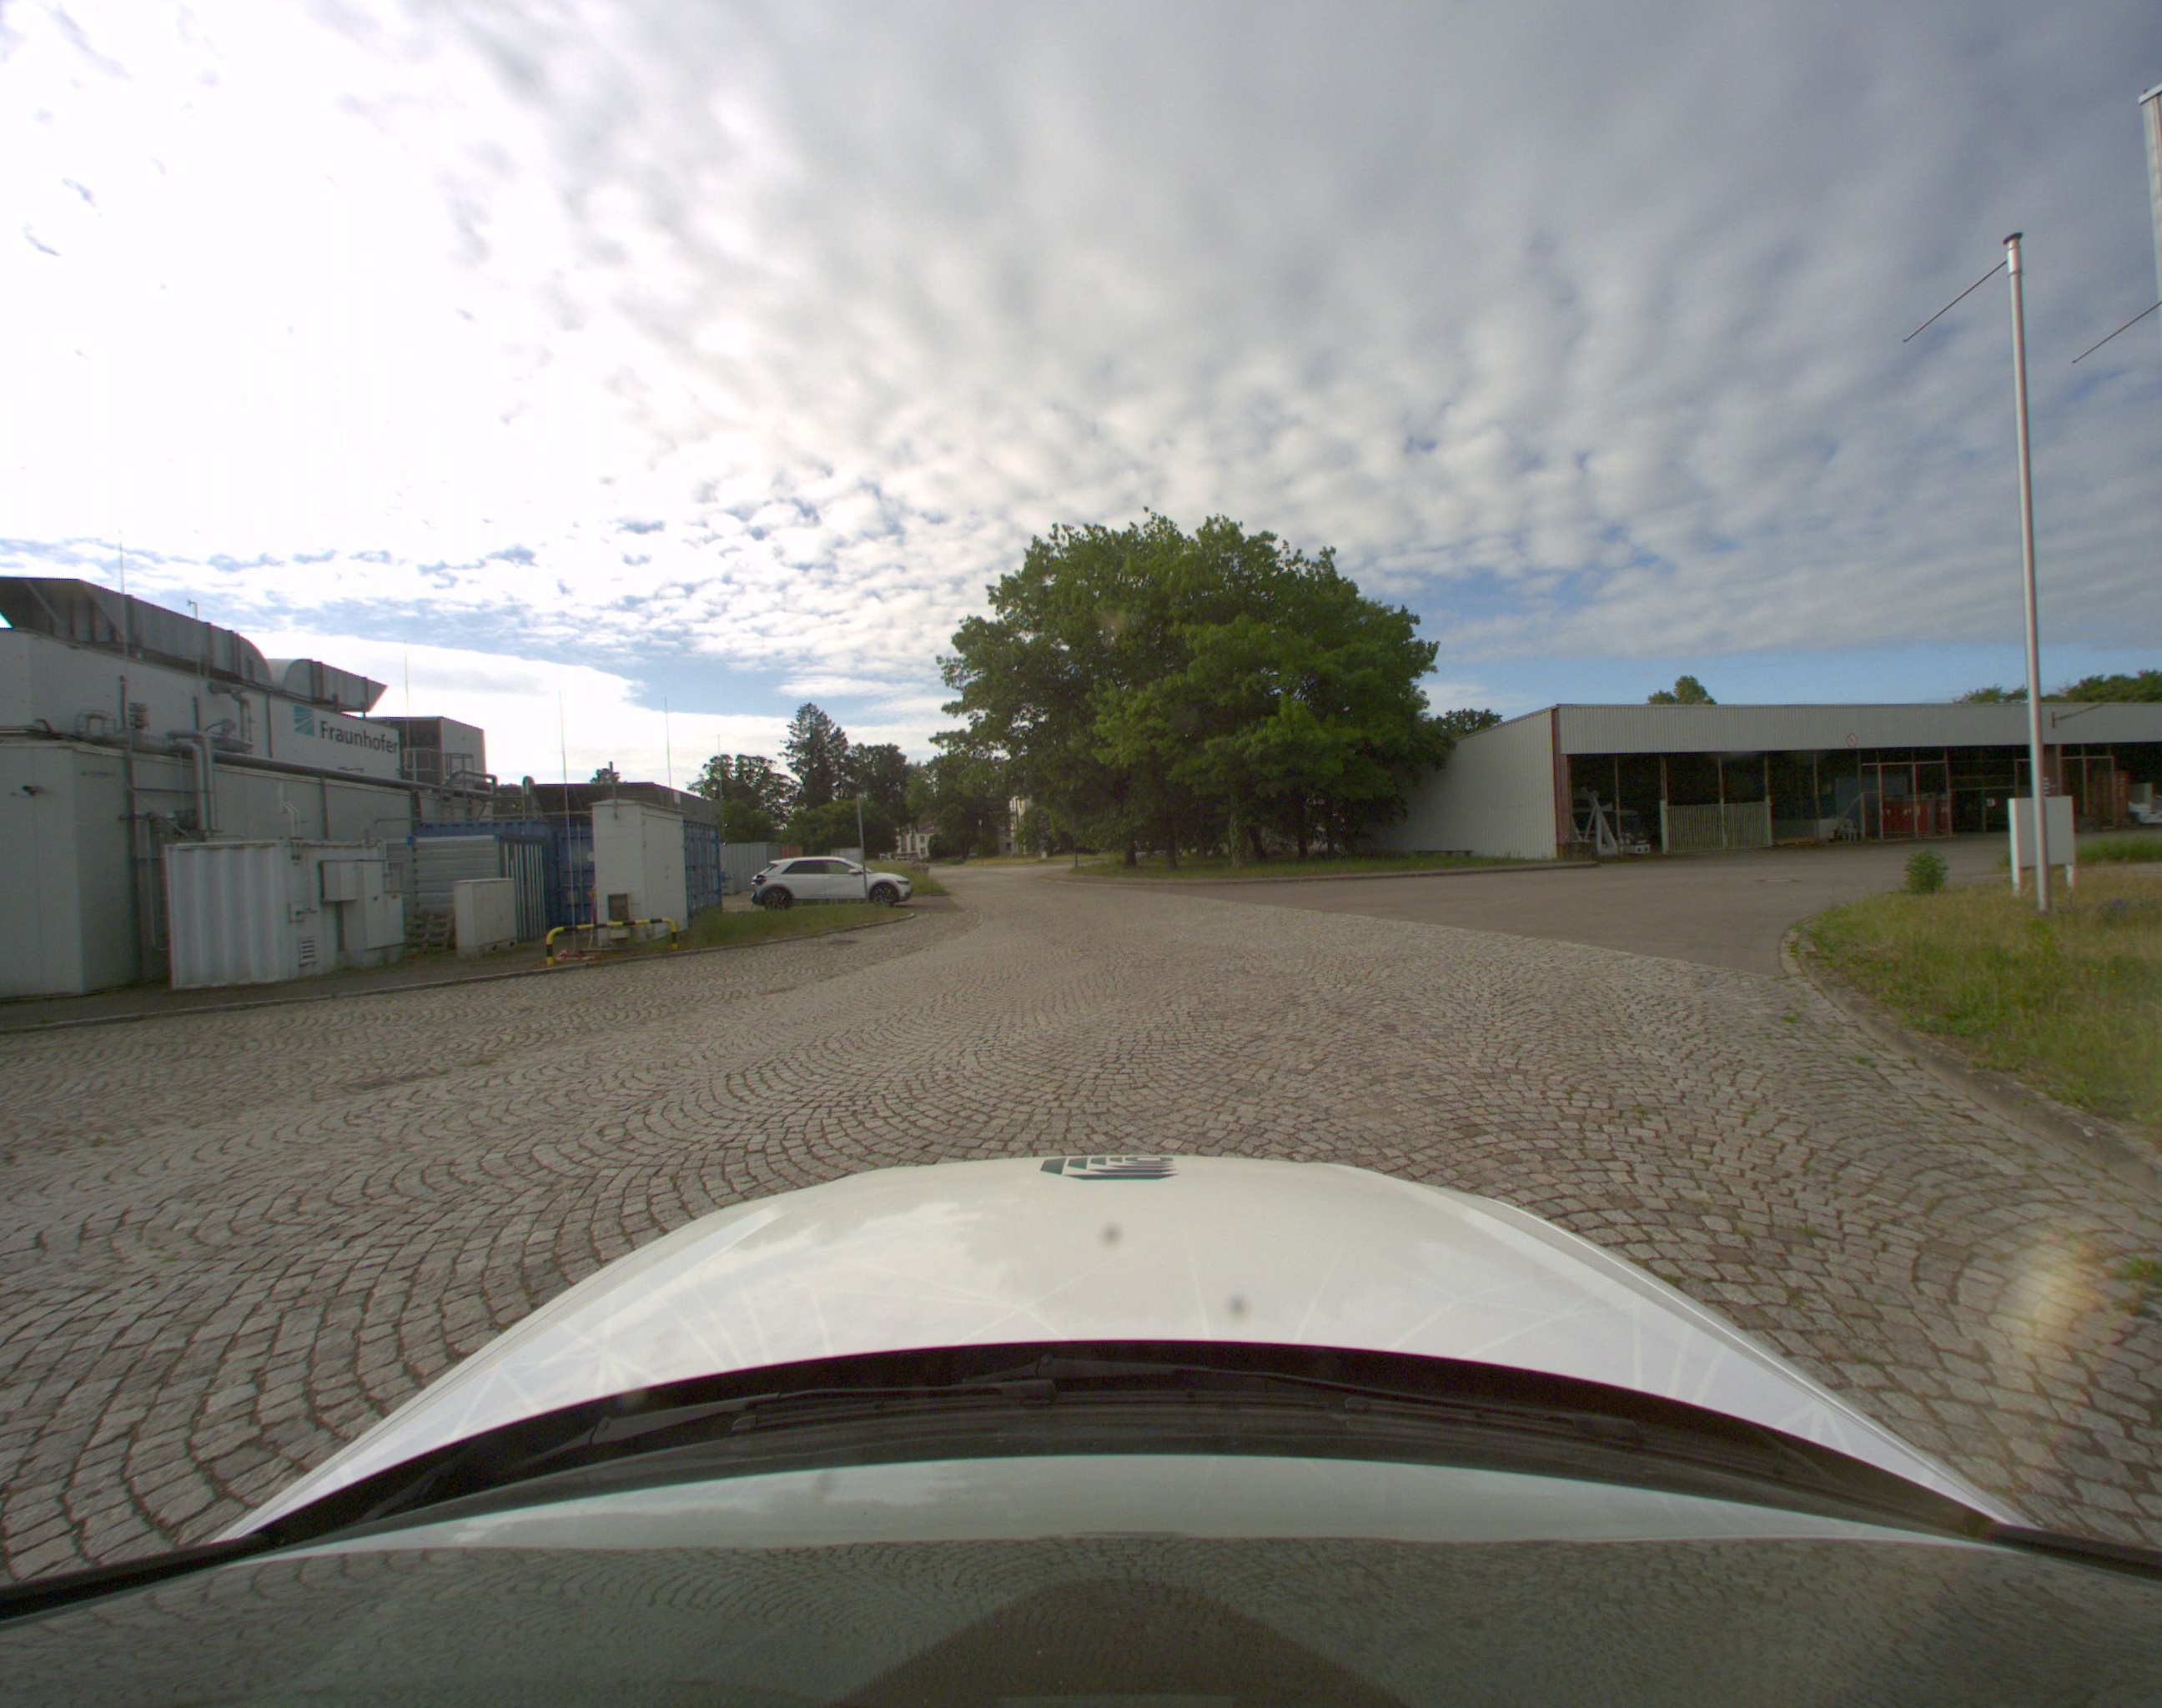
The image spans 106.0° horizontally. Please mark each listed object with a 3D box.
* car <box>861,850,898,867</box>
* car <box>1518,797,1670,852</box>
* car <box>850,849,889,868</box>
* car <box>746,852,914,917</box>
[{"bbox_3d":[-30.405,0.643,122.918,5.178,2.337,1.990,-3,0,-14],"label":"car"},{"bbox_3d":[21.534,-1.158,34.520,2.245,2.013,5.310,-3,0,-14],"label":"car"},{"bbox_3d":[-29.383,0.568,113.366,5.178,2.337,1.990,-3,0,-14],"label":"car"},{"bbox_3d":[-7.378,0.863,24.442,4.537,1.599,1.992,-3,0,-11],"label":"car"}]
